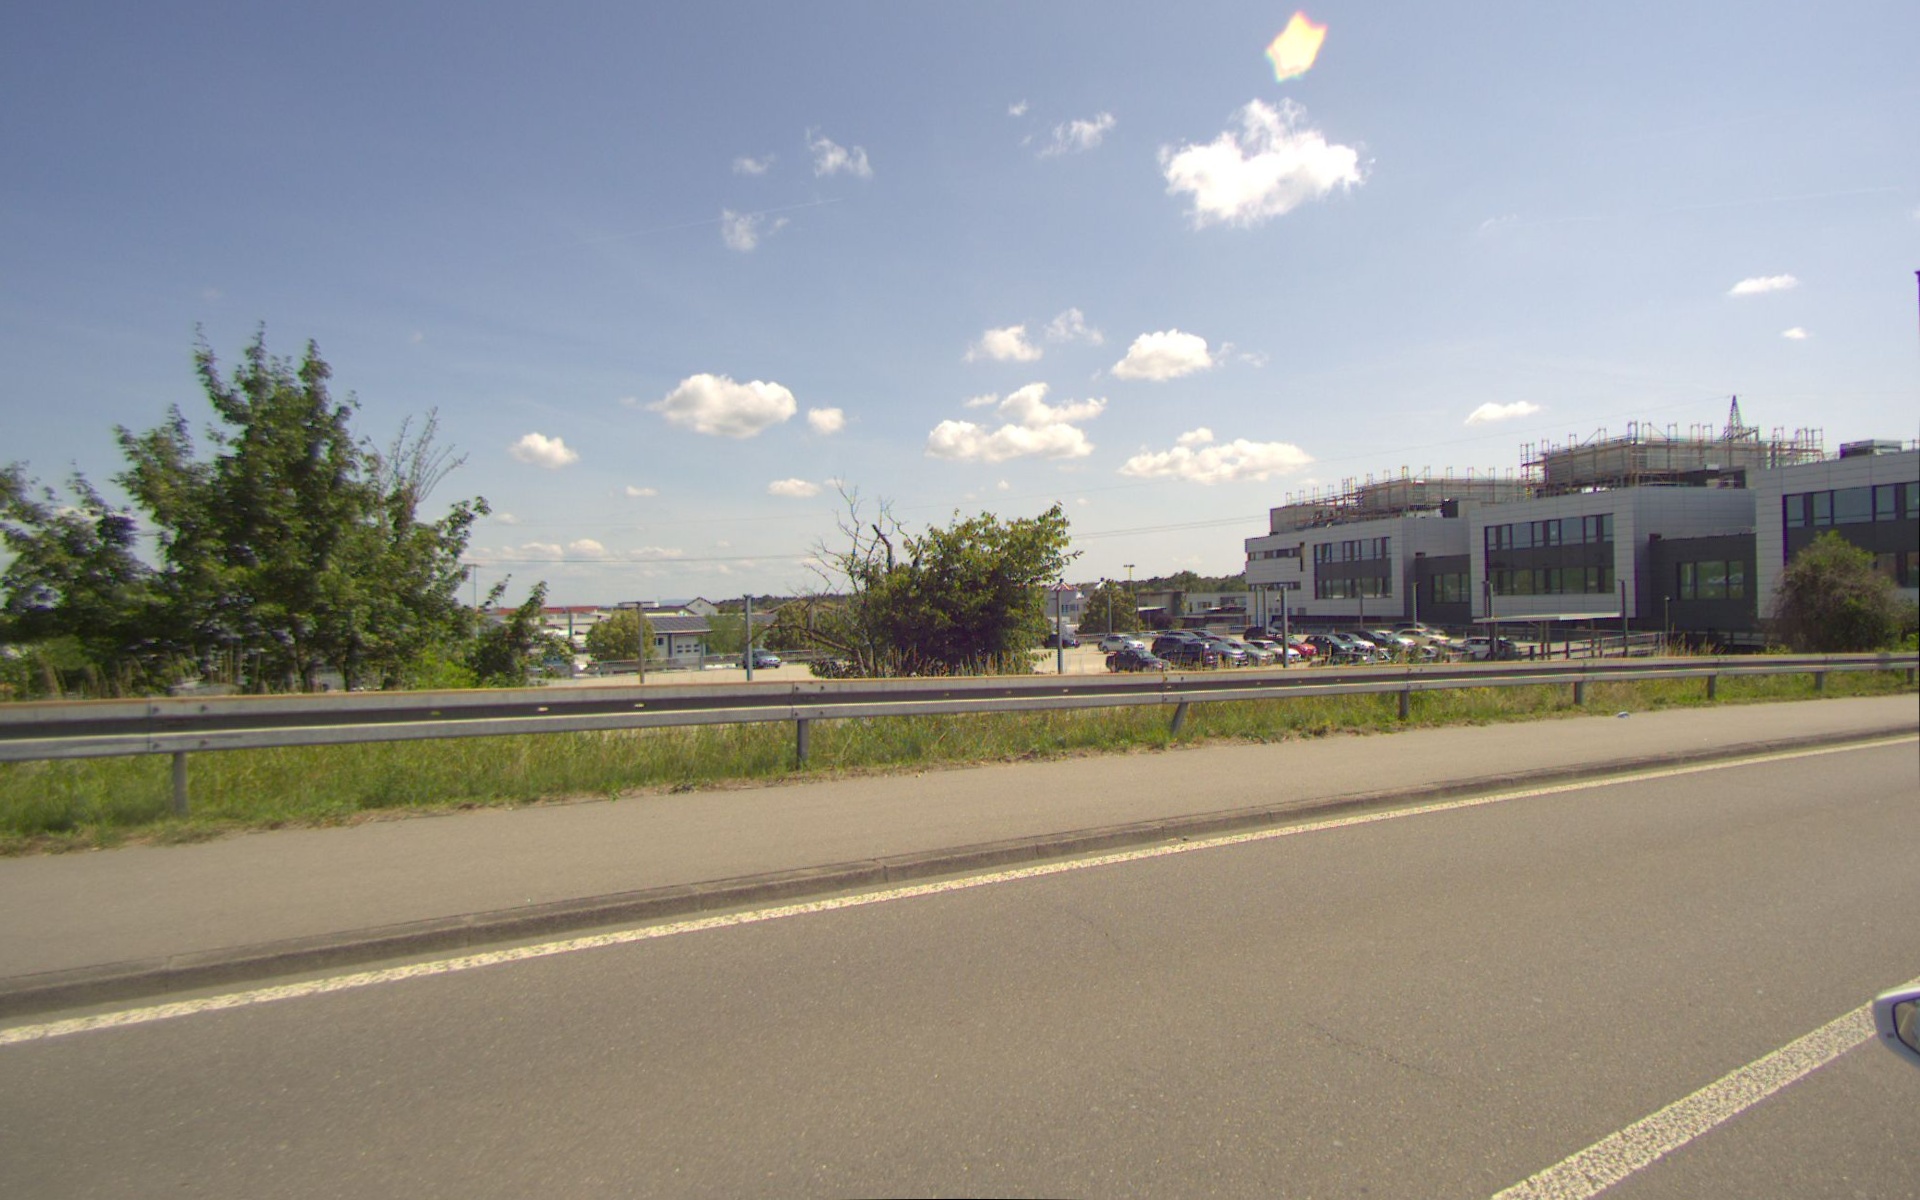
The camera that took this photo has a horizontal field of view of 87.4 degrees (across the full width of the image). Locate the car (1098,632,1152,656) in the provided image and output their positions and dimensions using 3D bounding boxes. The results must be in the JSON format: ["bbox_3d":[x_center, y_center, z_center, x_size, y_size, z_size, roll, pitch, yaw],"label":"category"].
[{"bbox_3d":[13.258,3.562,80.883,1.984,1.861,3.954,2,-4,-40],"label":"car"}]

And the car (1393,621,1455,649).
[{"bbox_3d":[36.253,2.715,78.513,1.982,2.041,3.957,-2,1,-38],"label":"car"}]

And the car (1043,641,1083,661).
[{"bbox_3d":[10.016,4.992,98.113,1.846,1.865,3.963,1,-2,-34],"label":"car"}]

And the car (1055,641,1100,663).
[{"bbox_3d":[10.487,4.636,89.980,1.846,1.865,3.963,1,-2,-34],"label":"car"}]

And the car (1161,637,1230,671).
[{"bbox_3d":[14.553,3.330,62.271,1.978,2.040,3.967,1,-3,-31],"label":"car"}]

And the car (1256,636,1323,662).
[{"bbox_3d":[22.299,3.310,68.075,1.978,1.731,3.967,1,-3,-31],"label":"car"}]

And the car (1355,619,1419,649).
[{"bbox_3d":[32.062,2.541,75.558,1.982,2.041,3.957,-2,1,-38],"label":"car"}]

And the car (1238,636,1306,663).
[{"bbox_3d":[20.568,3.267,66.371,1.978,1.706,3.967,1,-3,-31],"label":"car"}]

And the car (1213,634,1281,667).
[{"bbox_3d":[18.495,3.264,64.899,1.978,2.040,3.967,1,-3,-31],"label":"car"}]

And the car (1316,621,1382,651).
[{"bbox_3d":[28.182,2.573,72.827,1.982,2.041,3.957,-2,1,-38],"label":"car"}]

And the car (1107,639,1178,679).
[{"bbox_3d":[10.730,3.449,59.292,1.976,2.041,3.967,-3,1,-30],"label":"car"}]

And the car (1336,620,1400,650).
[{"bbox_3d":[30.090,2.557,74.170,1.982,2.041,3.957,-2,1,-38],"label":"car"}]

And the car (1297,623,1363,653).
[{"bbox_3d":[26.210,2.669,71.276,1.982,1.929,3.957,-2,1,-38],"label":"car"}]

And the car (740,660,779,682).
[{"bbox_3d":[-15.678,5.505,78.417,1.676,1.409,3.775,-2,1,-34],"label":"car"}]

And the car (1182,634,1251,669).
[{"bbox_3d":[16.284,3.247,63.922,1.977,2.040,3.967,-1,-1,-31],"label":"car"}]

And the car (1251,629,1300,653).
[{"bbox_3d":[28.998,3.739,92.442,1.982,2.040,3.957,1,0,-37],"label":"car"}]

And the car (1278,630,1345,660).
[{"bbox_3d":[24.310,3.074,69.543,1.978,1.839,3.964,-2,1,-32],"label":"car"}]

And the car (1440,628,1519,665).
[{"bbox_3d":[32.419,2.860,62.715,1.942,2.041,3.958,-2,2,-37],"label":"car"}]
